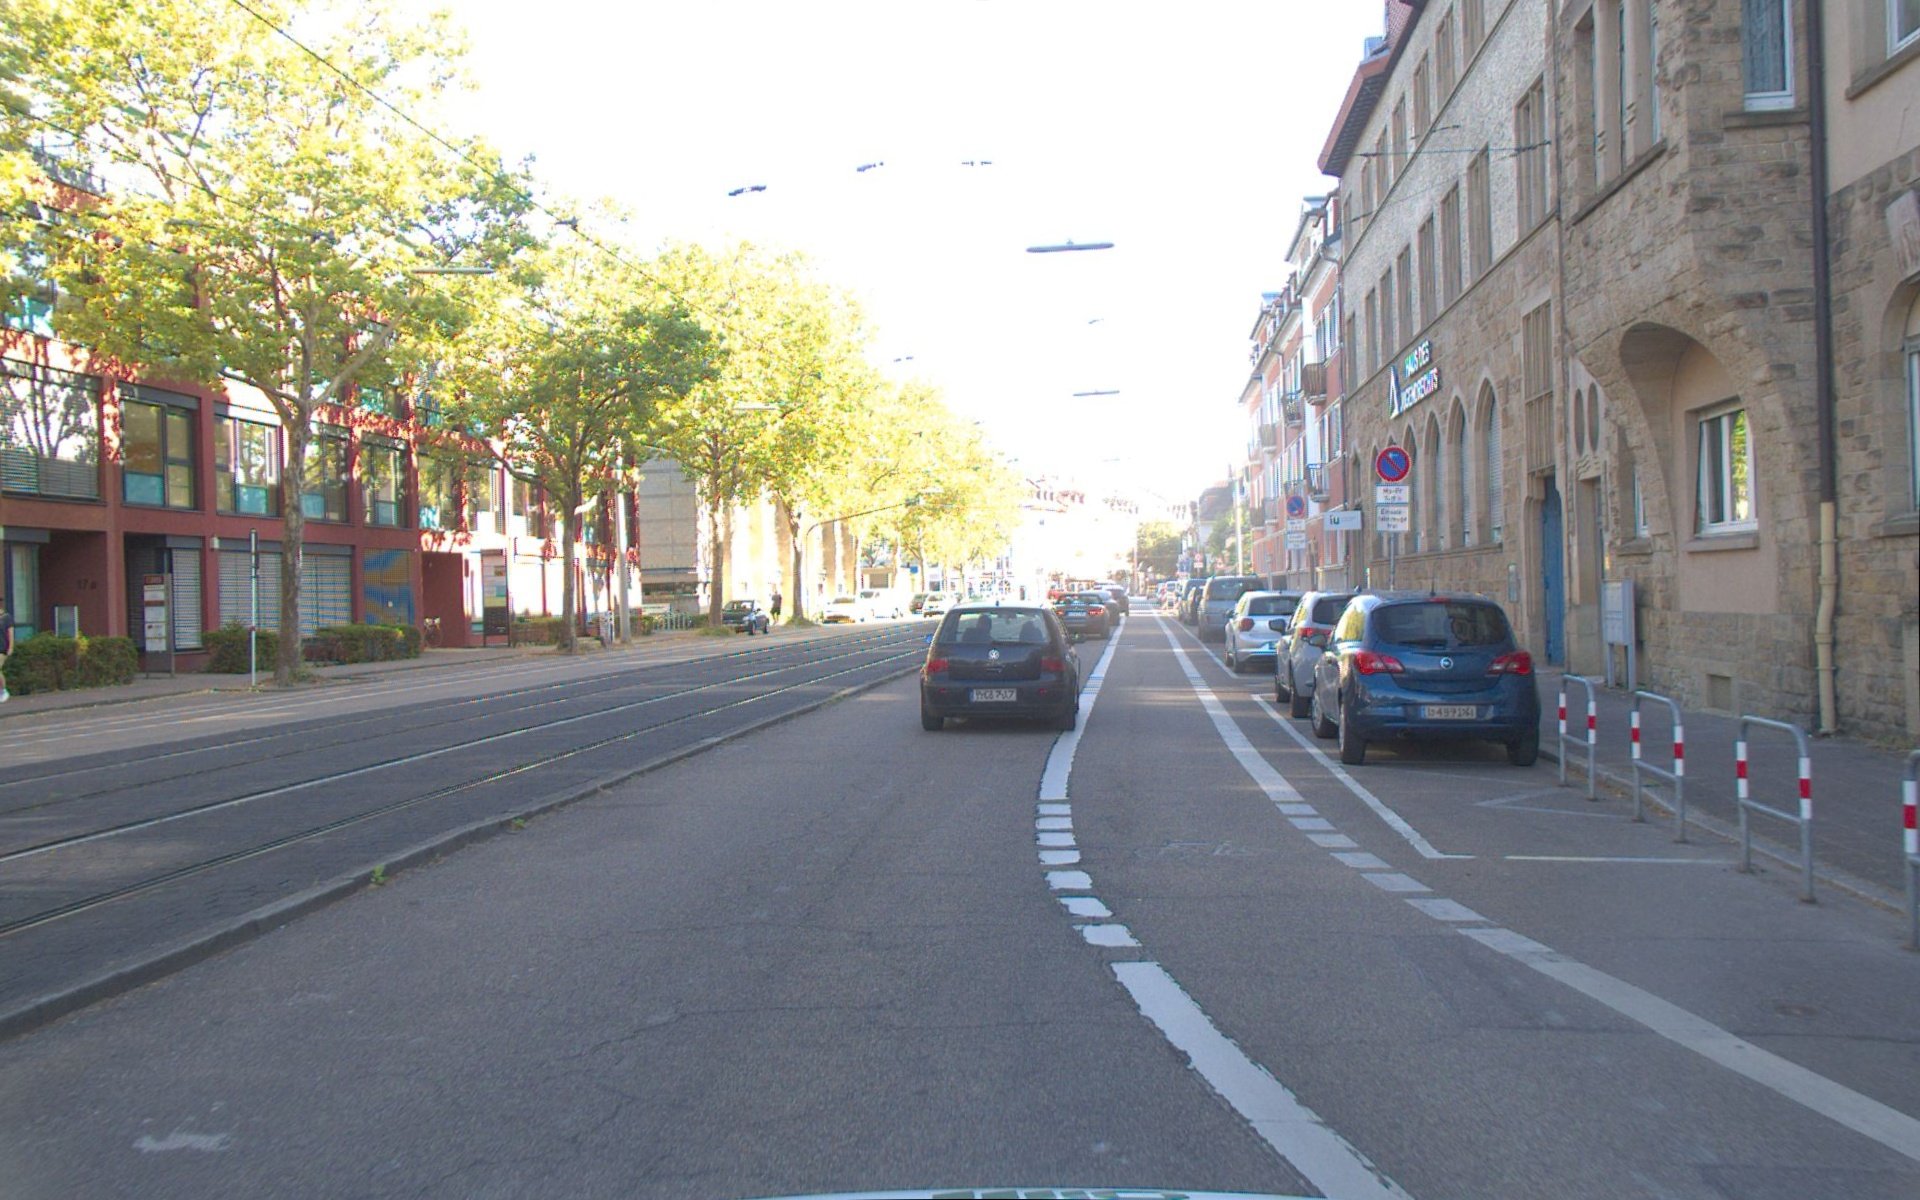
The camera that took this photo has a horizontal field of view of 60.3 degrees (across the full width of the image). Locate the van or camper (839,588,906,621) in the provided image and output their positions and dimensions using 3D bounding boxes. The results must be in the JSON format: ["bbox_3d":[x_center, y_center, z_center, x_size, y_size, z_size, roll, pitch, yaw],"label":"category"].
[{"bbox_3d":[-5.551,0.248,105.423,2.020,1.983,5.185,1,1,26],"label":"van or camper"}]

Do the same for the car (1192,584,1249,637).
[{"bbox_3d":[7.921,0.283,50.550,1.597,1.538,3.719,0,0,7],"label":"car"}]

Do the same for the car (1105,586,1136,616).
[{"bbox_3d":[8.642,0.039,88.965,1.601,1.498,3.732,-1,0,6],"label":"car"}]

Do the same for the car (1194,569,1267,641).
[{"bbox_3d":[7.460,0.112,45.932,1.715,1.888,4.819,-1,0,6],"label":"car"}]

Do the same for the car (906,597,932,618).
[{"bbox_3d":[-3.187,0.606,129.471,1.537,1.560,3.575,-1,-1,6],"label":"car"}]

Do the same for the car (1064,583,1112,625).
[{"bbox_3d":[5.136,0.132,65.800,1.711,1.564,3.895,-2,0,7],"label":"car"}]

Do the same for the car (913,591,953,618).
[{"bbox_3d":[-1.681,0.268,104.854,1.715,1.544,4.075,-3,0,10],"label":"car"}]

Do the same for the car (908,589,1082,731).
[{"bbox_3d":[0.499,0.605,19.001,1.712,1.399,4.003,-2,1,5],"label":"car"}]

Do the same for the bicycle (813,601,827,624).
[{"bbox_3d":[-7.590,0.664,89.606,0.569,1.230,1.654,0,1,0],"label":"bicycle"}]

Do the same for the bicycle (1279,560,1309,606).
[{"bbox_3d":[8.787,-0.451,43.575,0.504,1.159,2.260,-3,0,6],"label":"bicycle"}]

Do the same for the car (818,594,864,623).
[{"bbox_3d":[-6.809,0.462,95.133,1.969,1.600,4.696,0,1,5],"label":"car"}]

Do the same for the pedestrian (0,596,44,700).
[{"bbox_3d":[-16.312,0.810,28.407,0.612,1.748,0.901,0,1,5],"label":"pedestrian"}]

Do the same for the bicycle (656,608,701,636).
[{"bbox_3d":[-13.267,1.037,77.915,1.966,1.301,0.665,0,0,6],"label":"bicycle"}]

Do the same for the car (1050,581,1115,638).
[{"bbox_3d":[3.662,0.241,48.889,1.711,1.564,3.895,-2,0,7],"label":"car"}]

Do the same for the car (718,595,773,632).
[{"bbox_3d":[-9.175,0.587,70.958,1.475,1.479,3.466,-1,-1,7],"label":"car"}]

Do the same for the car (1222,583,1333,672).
[{"bbox_3d":[5.872,0.463,30.965,1.677,1.527,4.229,0,0,6],"label":"car"}]

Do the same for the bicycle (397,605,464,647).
[{"bbox_3d":[-17.105,0.841,53.441,2.018,1.294,0.619,1,2,10],"label":"bicycle"}]

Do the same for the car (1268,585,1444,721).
[{"bbox_3d":[4.871,0.581,20.816,1.715,1.527,4.199,0,0,7],"label":"car"}]

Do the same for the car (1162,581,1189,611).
[{"bbox_3d":[14.192,-0.276,109.018,1.721,1.870,3.550,0,1,6],"label":"car"}]

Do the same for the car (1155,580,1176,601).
[{"bbox_3d":[18.756,-0.900,151.179,1.779,1.830,4.003,-1,0,6],"label":"car"}]

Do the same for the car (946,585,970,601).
[{"bbox_3d":[-0.158,-0.645,155.139,1.754,1.491,3.838,1,0,6],"label":"car"}]

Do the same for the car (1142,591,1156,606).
[{"bbox_3d":[22.023,-0.193,192.668,1.632,1.625,3.653,-1,0,6],"label":"car"}]

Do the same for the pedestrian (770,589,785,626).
[{"bbox_3d":[-9.441,0.390,85.617,0.770,1.902,0.669,0,0,-9],"label":"pedestrian"}]

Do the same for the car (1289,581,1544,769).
[{"bbox_3d":[4.071,0.596,15.324,1.620,1.508,4.003,0,0,6],"label":"car"}]

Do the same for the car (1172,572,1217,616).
[{"bbox_3d":[10.391,-0.281,73.537,1.667,1.842,4.274,-2,0,4],"label":"car"}]
